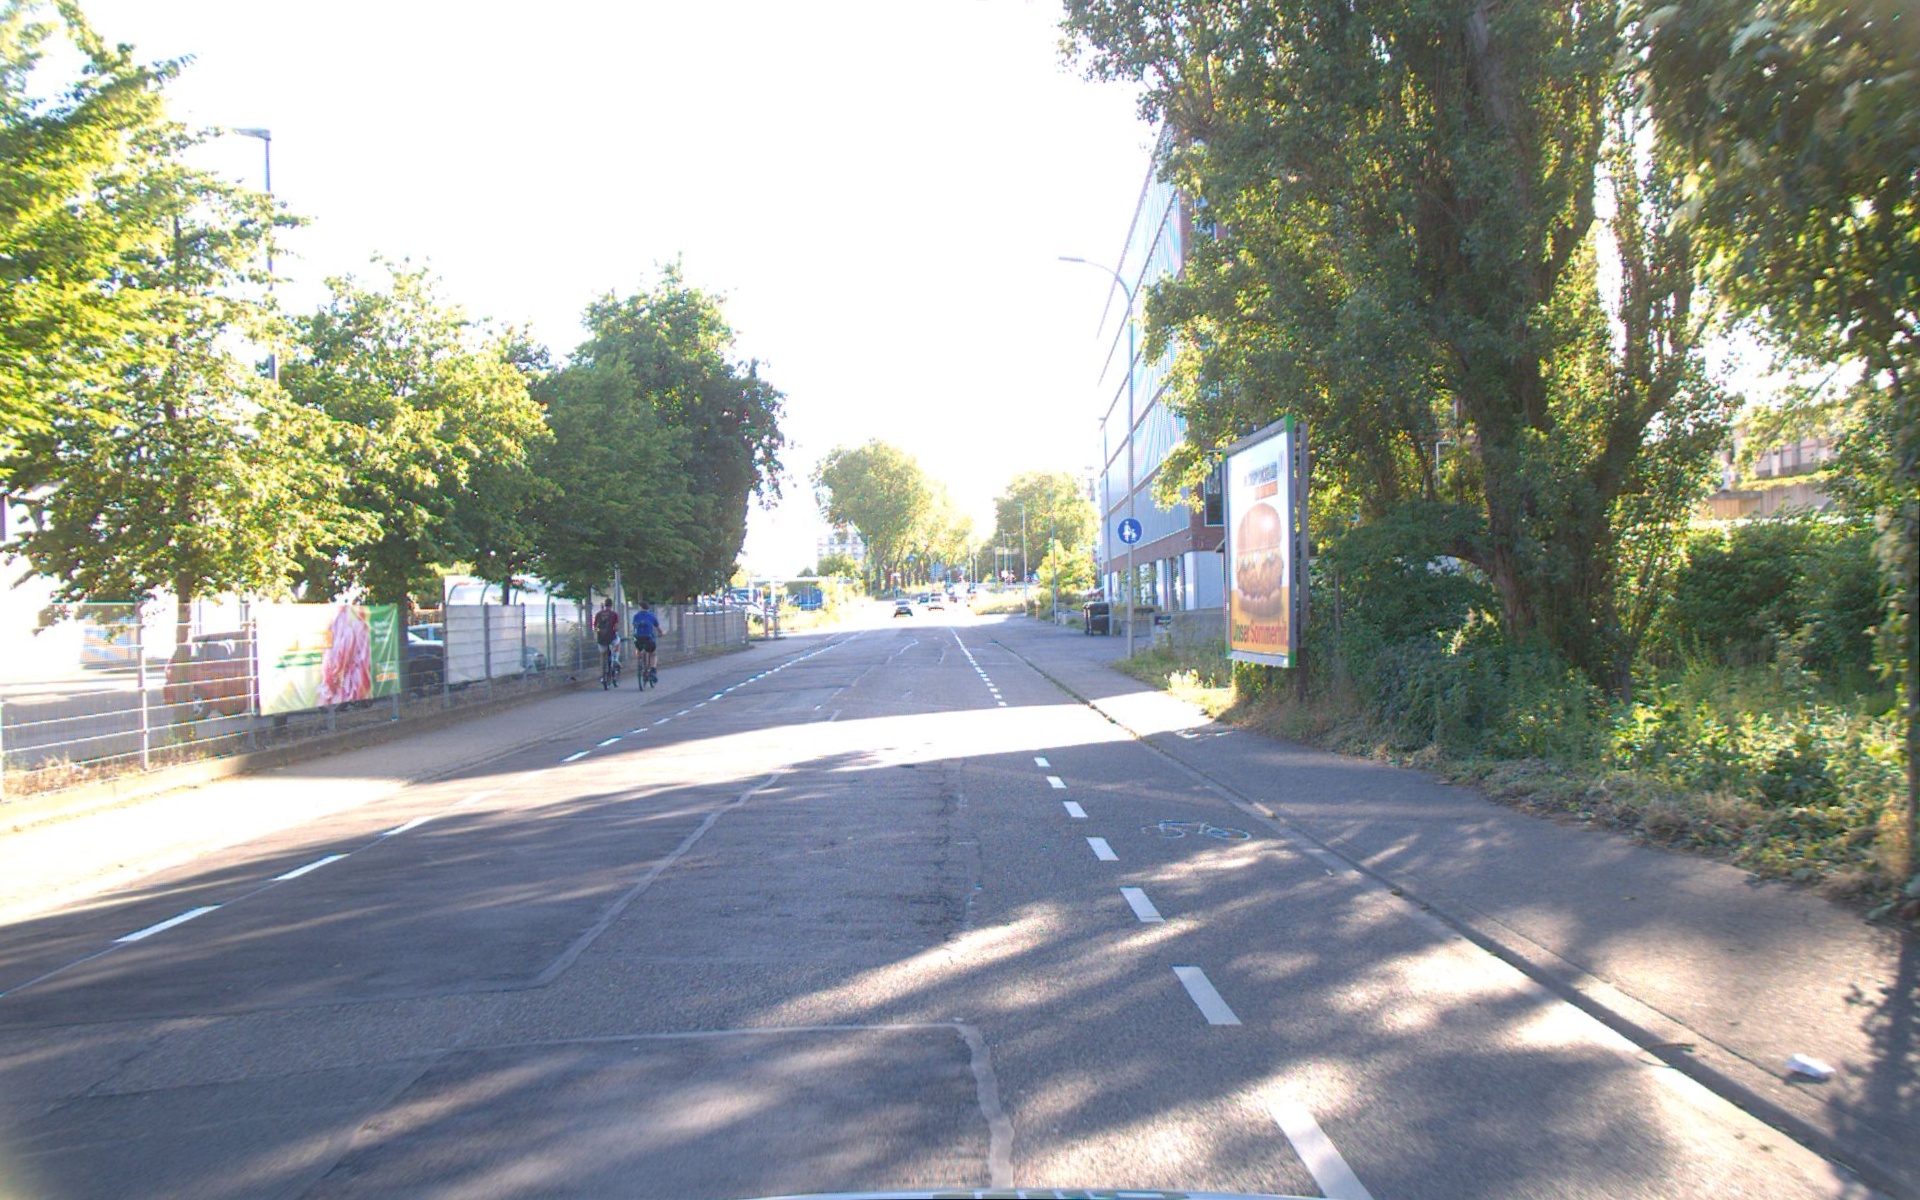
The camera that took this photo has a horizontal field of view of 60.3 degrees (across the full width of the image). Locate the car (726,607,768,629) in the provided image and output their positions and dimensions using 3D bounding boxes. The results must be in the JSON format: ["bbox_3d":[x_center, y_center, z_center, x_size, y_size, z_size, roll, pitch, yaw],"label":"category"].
[{"bbox_3d":[-26.693,2.251,207.415,4.994,2.503,2.319,-2,0,-2],"label":"car"}]

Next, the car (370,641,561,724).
[{"bbox_3d":[-11.328,1.874,38.071,3.814,1.537,1.784,-5,-1,-4],"label":"car"}]

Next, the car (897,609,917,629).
[{"bbox_3d":[-4.834,1.730,150.270,1.706,1.552,4.109,-5,-1,-2],"label":"car"}]

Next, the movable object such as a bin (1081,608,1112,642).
[{"bbox_3d":[5.815,1.063,70.447,1.106,1.359,1.345,-2,-1,-2],"label":"movable object such as a bin"}]

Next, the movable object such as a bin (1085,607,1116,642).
[{"bbox_3d":[5.829,1.036,68.825,1.106,1.396,1.345,-2,-1,-2],"label":"movable object such as a bin"}]

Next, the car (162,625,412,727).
[{"bbox_3d":[-11.979,1.325,29.607,3.652,1.476,1.804,-5,-1,-3],"label":"car"}]

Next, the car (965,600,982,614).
[{"bbox_3d":[1.764,0.872,214.788,2.119,1.713,4.000,-2,0,0],"label":"car"}]

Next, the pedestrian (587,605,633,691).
[{"bbox_3d":[-7.343,0.994,34.728,0.706,1.751,1.057,-2,-1,-1],"label":"pedestrian"}]

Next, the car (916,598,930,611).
[{"bbox_3d":[-4.710,0.605,209.648,1.620,1.530,3.999,-3,-1,0],"label":"car"}]

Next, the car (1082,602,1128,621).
[{"bbox_3d":[13.273,1.048,152.077,4.097,1.608,1.852,-2,0,2],"label":"car"}]

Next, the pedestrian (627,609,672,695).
[{"bbox_3d":[-6.523,1.084,34.753,0.706,1.751,1.057,-2,-1,-1],"label":"pedestrian"}]

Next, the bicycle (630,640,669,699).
[{"bbox_3d":[-6.514,1.444,34.777,0.437,1.169,2.200,0,-1,-1],"label":"bicycle"}]

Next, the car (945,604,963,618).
[{"bbox_3d":[-0.768,1.415,209.252,2.119,1.713,4.000,-2,0,0],"label":"car"}]

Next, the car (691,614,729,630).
[{"bbox_3d":[-27.076,2.391,178.881,3.804,1.631,1.877,-2,0,-2],"label":"car"}]

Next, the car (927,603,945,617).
[{"bbox_3d":[-2.515,1.012,173.915,1.753,1.445,4.000,-1,0,1],"label":"car"}]

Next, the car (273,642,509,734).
[{"bbox_3d":[-11.712,1.792,34.260,4.103,1.476,2.051,-5,-1,-3],"label":"car"}]

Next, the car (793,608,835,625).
[{"bbox_3d":[-16.880,1.910,191.564,4.748,1.867,1.999,-2,0,-2],"label":"car"}]

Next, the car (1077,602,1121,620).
[{"bbox_3d":[13.365,1.081,158.922,4.097,1.608,1.852,-2,0,2],"label":"car"}]

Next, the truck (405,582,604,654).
[{"bbox_3d":[-24.375,0.994,88.852,9.895,3.678,2.774,-1,-2,-2],"label":"truck"}]

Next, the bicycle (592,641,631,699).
[{"bbox_3d":[-7.308,1.457,34.713,0.460,1.169,1.869,0,-1,-1],"label":"bicycle"}]
